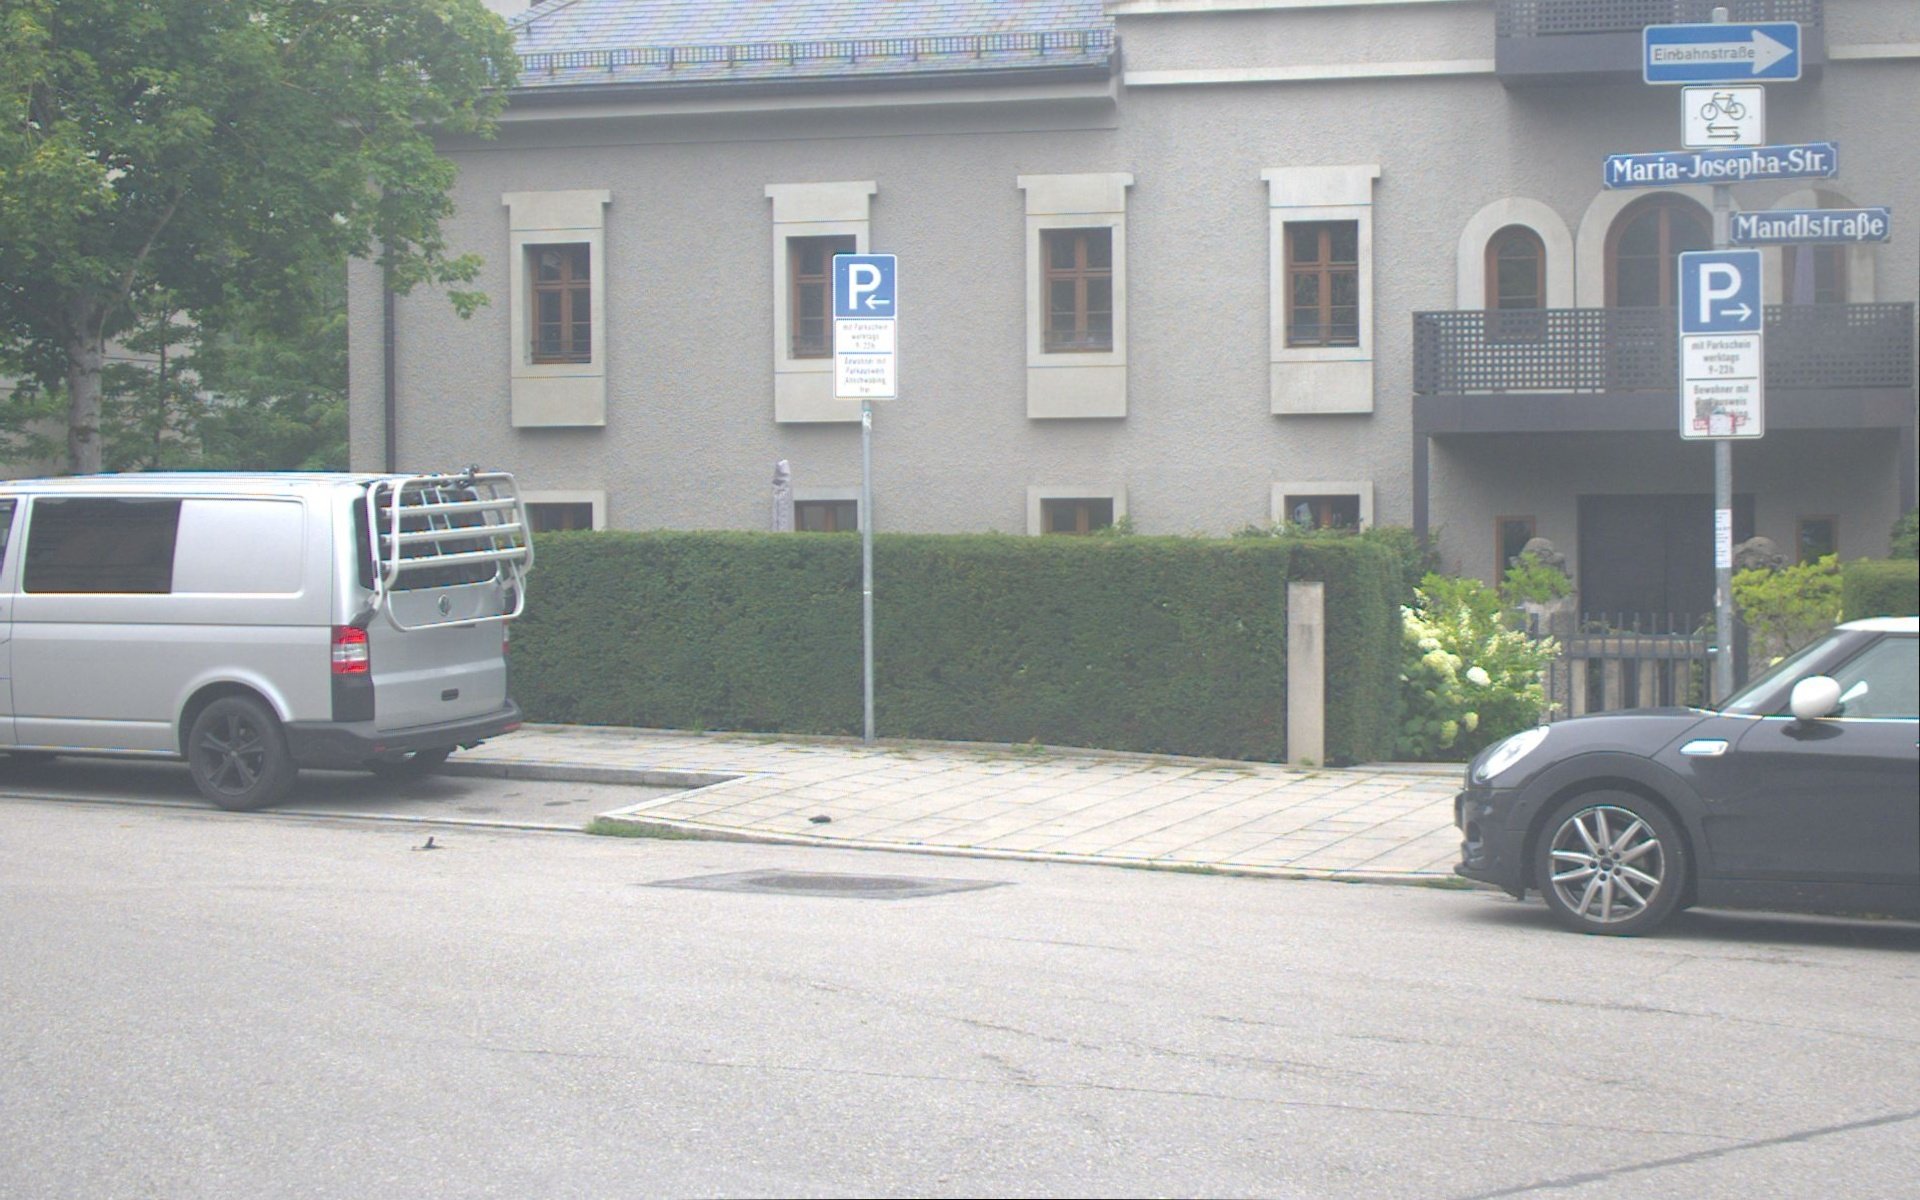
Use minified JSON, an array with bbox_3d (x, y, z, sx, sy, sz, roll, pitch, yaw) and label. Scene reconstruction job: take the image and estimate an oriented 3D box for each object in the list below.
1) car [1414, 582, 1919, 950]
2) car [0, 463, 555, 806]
[{"bbox_3d":[4.305,0.740,15.085,4.259,1.442,1.896,2,0,19],"label":"car"},{"bbox_3d":[-5.237,0.118,21.673,5.062,1.898,1.939,1,4,26],"label":"car"}]
